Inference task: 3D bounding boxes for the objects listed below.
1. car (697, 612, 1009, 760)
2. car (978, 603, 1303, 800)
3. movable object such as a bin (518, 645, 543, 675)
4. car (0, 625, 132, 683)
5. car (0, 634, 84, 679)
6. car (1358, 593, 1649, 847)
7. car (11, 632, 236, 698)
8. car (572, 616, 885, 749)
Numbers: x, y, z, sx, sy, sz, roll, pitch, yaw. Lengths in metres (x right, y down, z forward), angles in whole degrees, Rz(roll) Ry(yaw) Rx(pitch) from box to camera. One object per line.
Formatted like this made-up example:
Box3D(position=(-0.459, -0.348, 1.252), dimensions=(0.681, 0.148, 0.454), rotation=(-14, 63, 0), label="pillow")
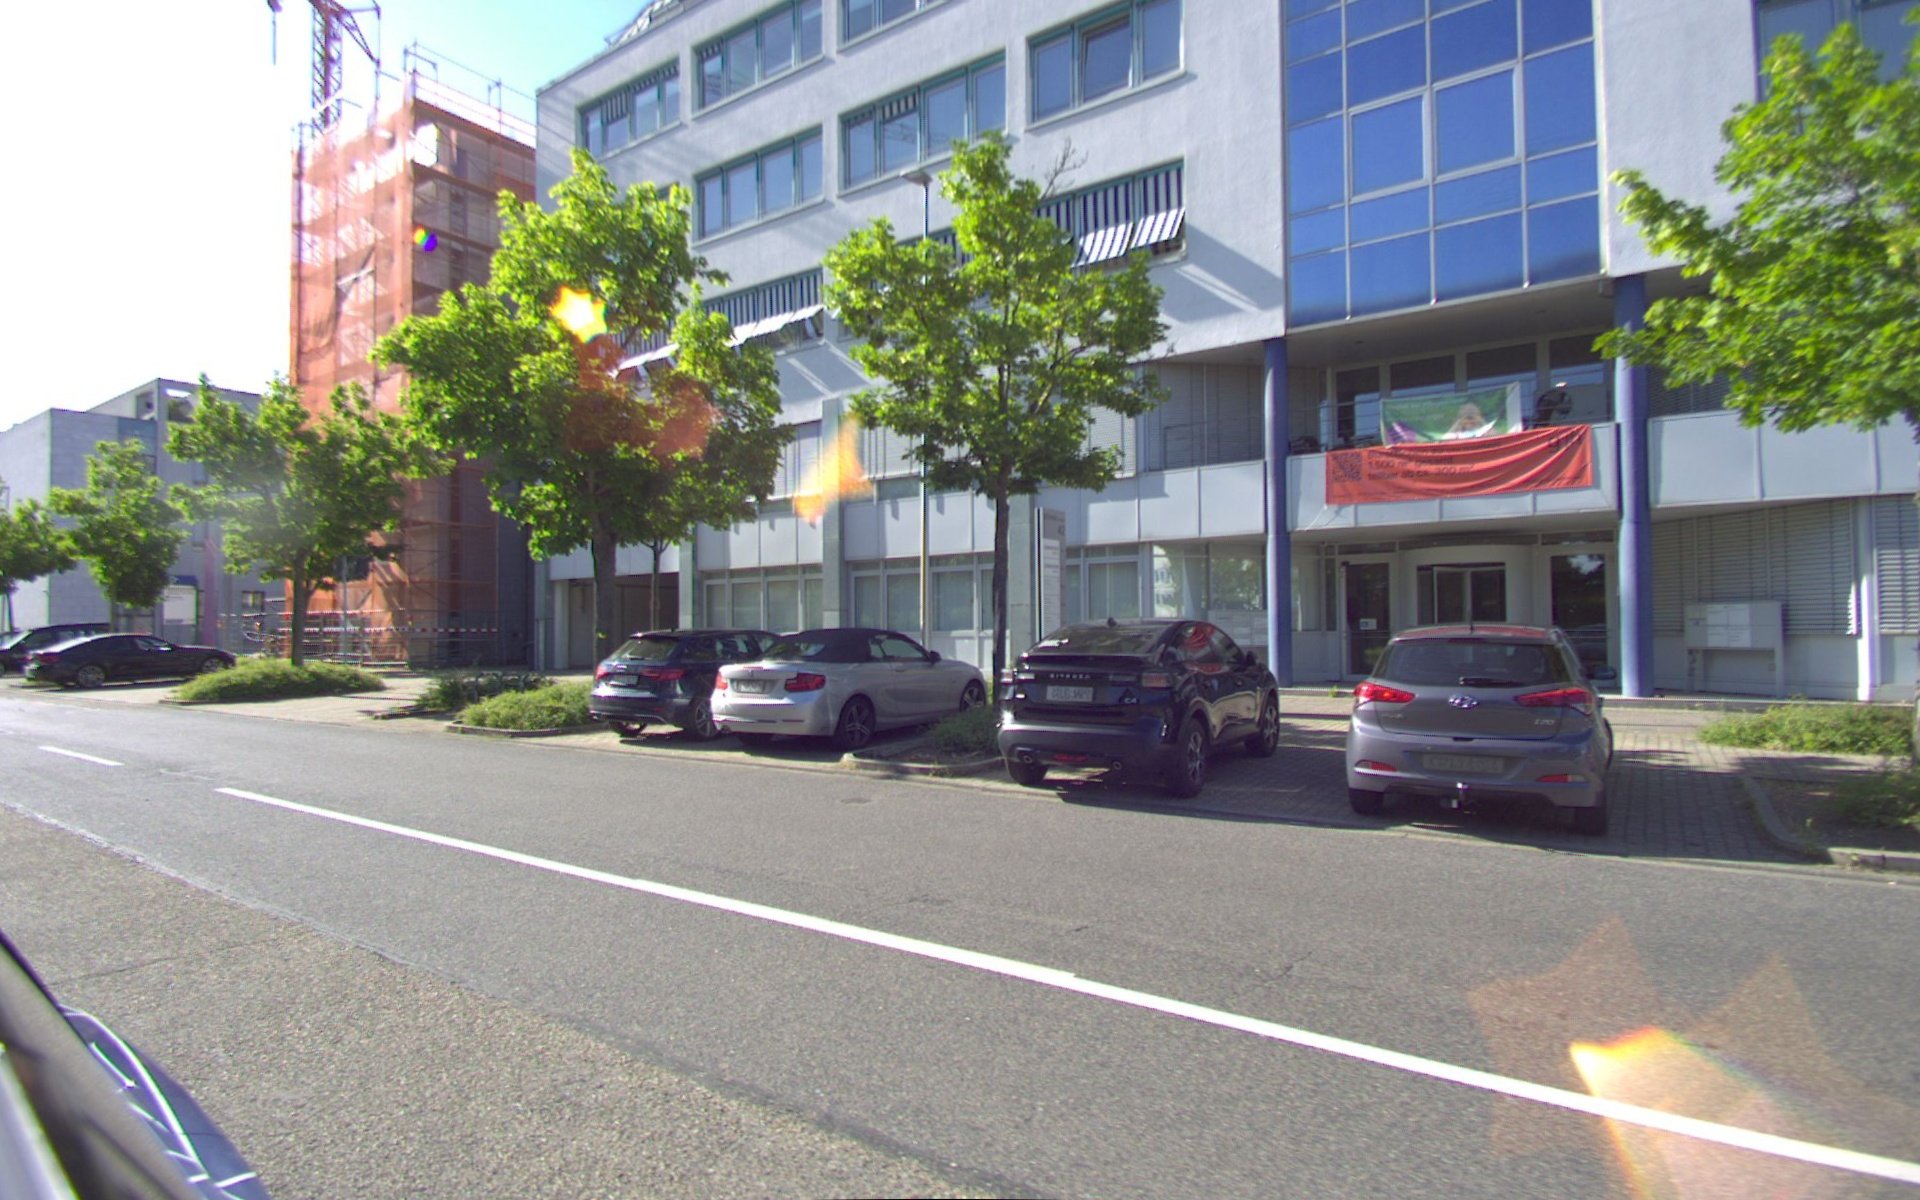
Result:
Box3D(position=(-1.176, 0.967, 13.116), dimensions=(1.688, 1.443, 4.352), rotation=(-2, 0, 32), label="car")
Box3D(position=(2.041, 0.817, 10.206), dimensions=(1.688, 1.443, 4.351), rotation=(-2, 0, 32), label="car")
Box3D(position=(-13.569, 1.894, 31.943), dimensions=(0.610, 0.934, 0.482), rotation=(-2, -3, 38), label="movable object such as a bin")
Box3D(position=(-31.628, 1.847, 34.982), dimensions=(1.844, 1.758, 4.346), rotation=(-2, 0, 36), label="car")
Box3D(position=(-35.434, 2.137, 37.410), dimensions=(1.690, 1.525, 4.347), rotation=(-2, 0, 36), label="car")
Box3D(position=(4.710, 0.769, 8.713), dimensions=(1.687, 1.549, 4.354), rotation=(-2, 0, 31), label="car")
Box3D(position=(-22.808, 1.722, 27.763), dimensions=(1.971, 1.443, 4.353), rotation=(-2, 0, 31), label="car")
Box3D(position=(-3.090, 1.040, 14.393), dimensions=(1.689, 1.443, 4.349), rotation=(-2, 0, 34), label="car")
